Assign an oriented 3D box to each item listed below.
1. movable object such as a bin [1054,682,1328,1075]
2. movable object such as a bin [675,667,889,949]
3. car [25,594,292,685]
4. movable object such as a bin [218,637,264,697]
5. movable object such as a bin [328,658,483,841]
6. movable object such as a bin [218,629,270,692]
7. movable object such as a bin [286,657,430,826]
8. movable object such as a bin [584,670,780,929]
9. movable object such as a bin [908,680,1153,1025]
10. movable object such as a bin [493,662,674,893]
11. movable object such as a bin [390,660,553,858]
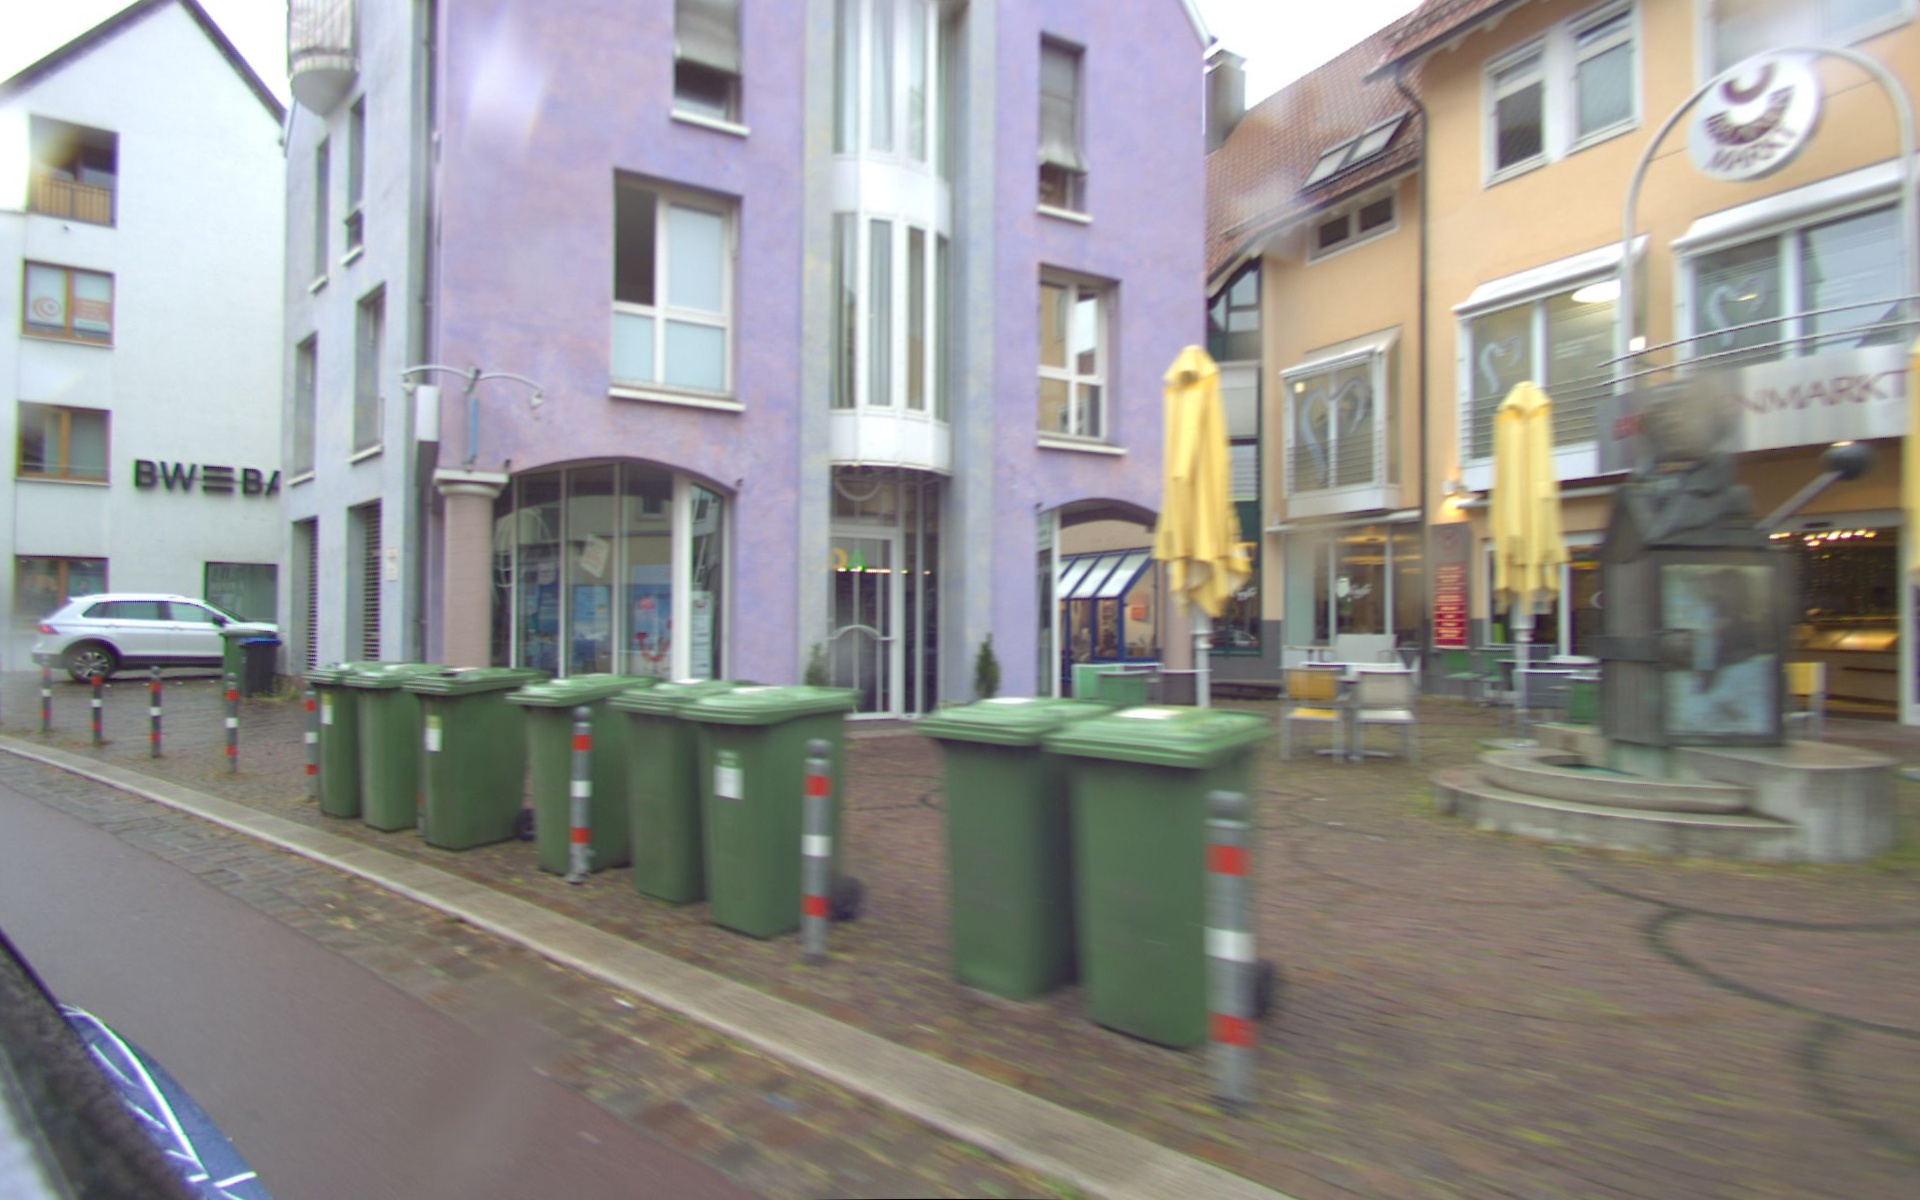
[{"bbox_3d":[0.782,0.839,3.384,0.668,1.050,0.680,1,0,37],"label":"movable object such as a bin"},{"bbox_3d":[-0.789,0.866,4.545,0.668,1.082,0.680,-1,-1,37],"label":"movable object such as a bin"},{"bbox_3d":[-15.540,0.721,19.859,3.934,1.595,1.837,1,0,-37],"label":"car"},{"bbox_3d":[-11.357,1.047,15.984,0.449,0.902,0.456,1,0,34],"label":"movable object such as a bin"},{"bbox_3d":[-3.714,0.959,6.792,0.711,1.095,0.680,-1,-1,37],"label":"movable object such as a bin"},{"bbox_3d":[-11.811,0.985,16.696,0.480,0.996,0.574,1,0,-9],"label":"movable object such as a bin"},{"bbox_3d":[-4.298,0.969,7.235,0.676,1.086,0.680,-1,-1,37],"label":"movable object such as a bin"},{"bbox_3d":[-1.378,0.929,5.038,0.668,1.114,0.680,-1,-1,37],"label":"movable object such as a bin"},{"bbox_3d":[0.275,0.875,3.844,0.668,1.084,0.680,-1,-1,37],"label":"movable object such as a bin"},{"bbox_3d":[-2.056,0.917,5.550,0.668,1.114,0.680,-1,-1,37],"label":"movable object such as a bin"},{"bbox_3d":[-3.016,0.937,6.259,0.668,1.089,0.680,-1,-1,37],"label":"movable object such as a bin"}]
